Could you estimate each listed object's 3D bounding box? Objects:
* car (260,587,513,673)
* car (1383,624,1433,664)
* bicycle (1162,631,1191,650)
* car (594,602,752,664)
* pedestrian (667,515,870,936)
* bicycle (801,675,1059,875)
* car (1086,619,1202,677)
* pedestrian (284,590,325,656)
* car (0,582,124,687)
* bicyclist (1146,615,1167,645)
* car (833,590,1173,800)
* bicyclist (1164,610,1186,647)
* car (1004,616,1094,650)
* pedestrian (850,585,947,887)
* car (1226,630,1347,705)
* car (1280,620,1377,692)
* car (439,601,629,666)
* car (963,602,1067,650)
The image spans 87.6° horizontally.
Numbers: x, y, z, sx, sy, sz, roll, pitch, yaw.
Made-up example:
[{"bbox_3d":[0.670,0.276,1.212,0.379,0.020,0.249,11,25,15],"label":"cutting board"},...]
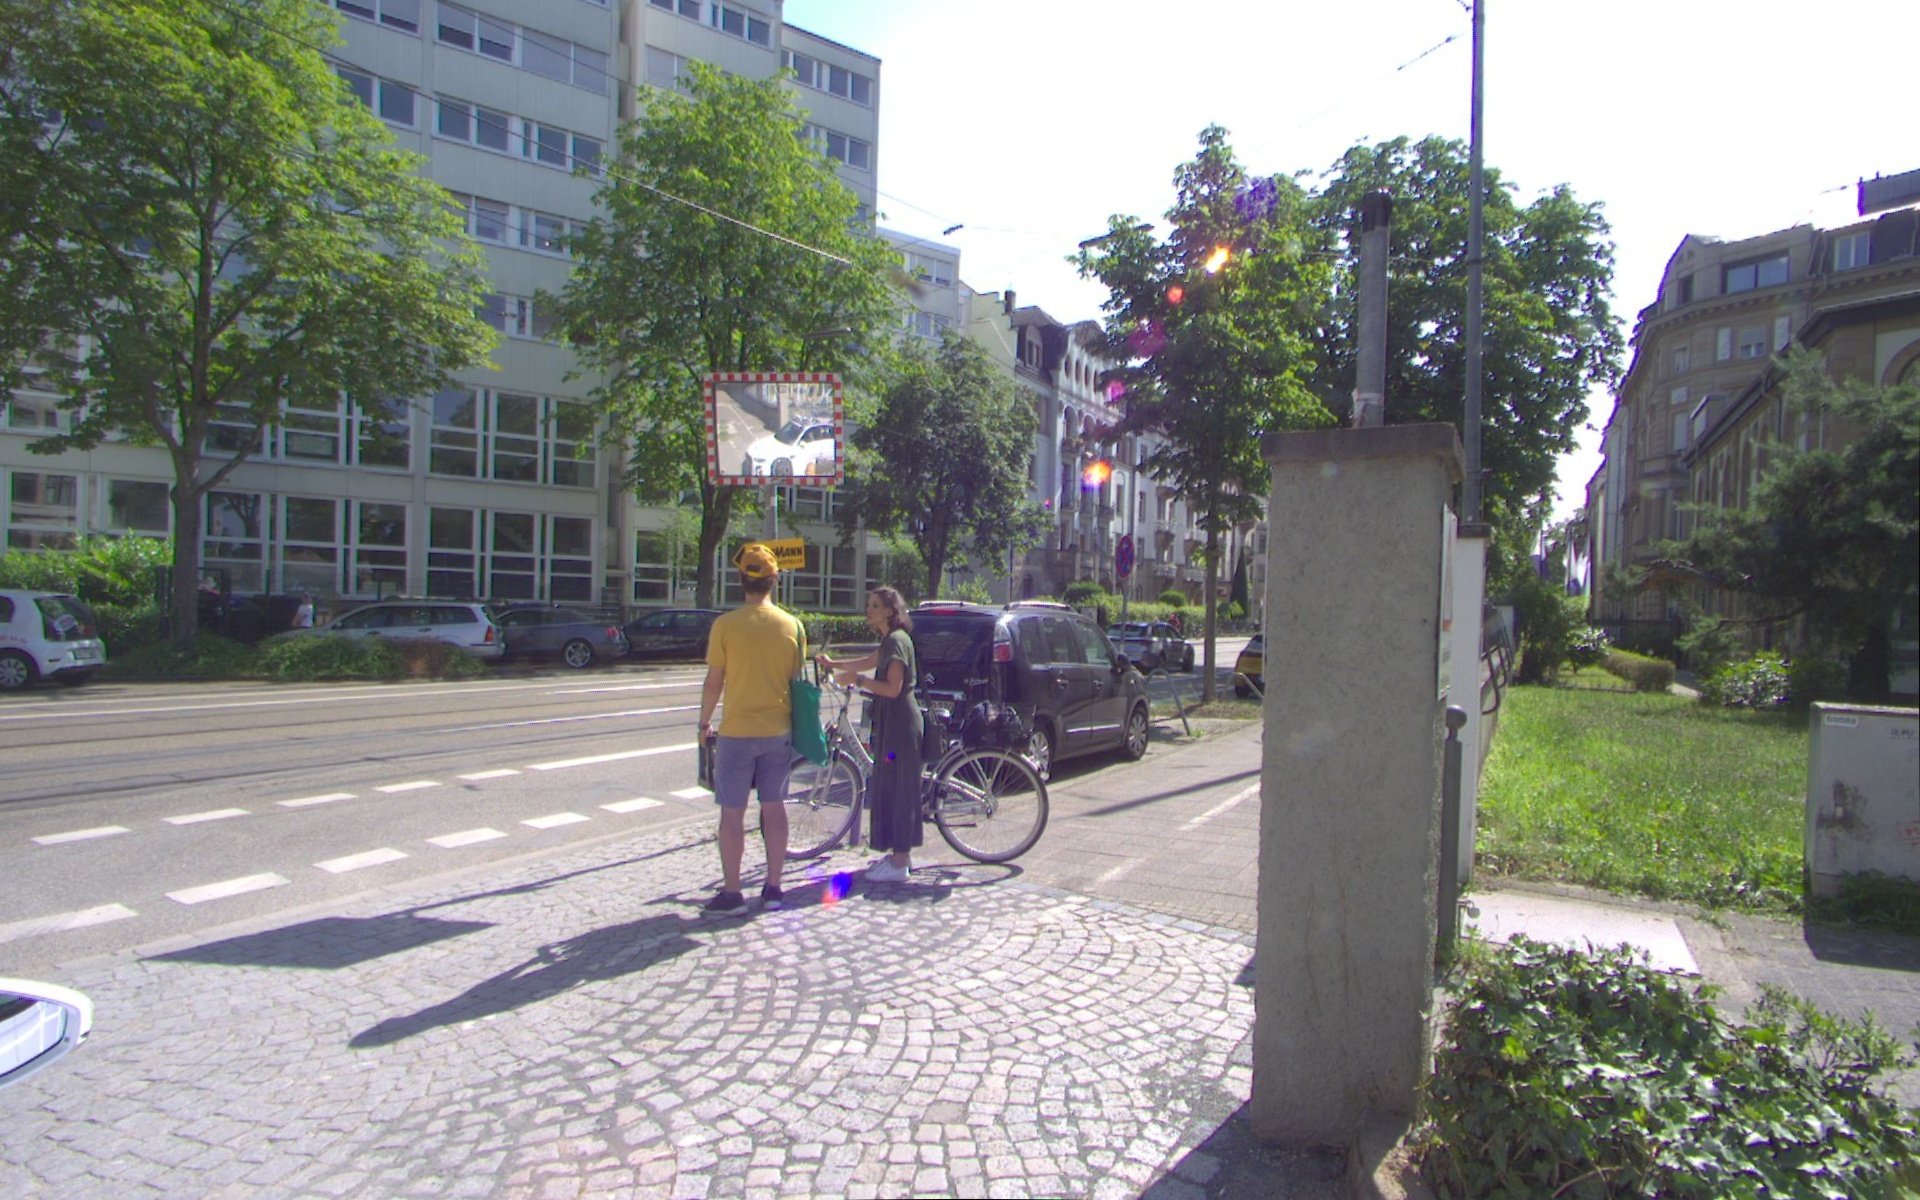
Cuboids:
[{"bbox_3d":[-11.704,0.631,20.735,4.270,1.625,1.555,2,-1,-18],"label":"car"},{"bbox_3d":[20.880,2.021,46.604,1.828,1.702,3.984,1,-1,28],"label":"car"},{"bbox_3d":[11.158,2.054,51.551,0.670,0.929,2.309,2,0,32],"label":"bicycle"},{"bbox_3d":[-7.527,0.866,26.439,3.875,1.505,1.556,2,0,-16],"label":"car"},{"bbox_3d":[-0.985,0.578,5.014,0.839,1.889,0.828,2,0,-19],"label":"pedestrian"},{"bbox_3d":[-0.179,1.023,6.033,1.484,1.055,0.363,2,0,12],"label":"bicycle"},{"bbox_3d":[5.330,1.314,28.503,1.863,1.426,4.575,3,0,29],"label":"car"},{"bbox_3d":[-14.840,0.520,22.672,0.417,1.480,0.620,2,0,27],"label":"pedestrian"},{"bbox_3d":[-15.130,0.474,14.843,3.874,1.505,1.610,1,0,-15],"label":"car"},{"bbox_3d":[10.266,1.560,52.377,0.793,1.563,0.860,2,0,33],"label":"bicyclist"},{"bbox_3d":[0.655,0.832,10.433,1.829,1.706,3.981,1,-1,31],"label":"car"},{"bbox_3d":[11.058,1.458,51.465,0.793,1.825,0.860,2,0,33],"label":"bicyclist"},{"bbox_3d":[4.364,1.628,49.187,3.929,1.528,1.997,2,-1,-16],"label":"car"},{"bbox_3d":[-0.343,0.752,5.713,0.445,1.642,0.422,-1,-1,12],"label":"pedestrian"},{"bbox_3d":[7.263,1.408,22.011,1.828,1.430,3.984,1,-1,28],"label":"car"},{"bbox_3d":[9.819,1.416,26.491,1.828,1.702,3.984,1,-1,28],"label":"car"},{"bbox_3d":[-9.865,0.787,23.481,3.875,1.375,1.556,2,0,-16],"label":"car"},{"bbox_3d":[2.324,1.095,42.529,3.935,1.884,1.993,2,0,-23],"label":"car"}]
